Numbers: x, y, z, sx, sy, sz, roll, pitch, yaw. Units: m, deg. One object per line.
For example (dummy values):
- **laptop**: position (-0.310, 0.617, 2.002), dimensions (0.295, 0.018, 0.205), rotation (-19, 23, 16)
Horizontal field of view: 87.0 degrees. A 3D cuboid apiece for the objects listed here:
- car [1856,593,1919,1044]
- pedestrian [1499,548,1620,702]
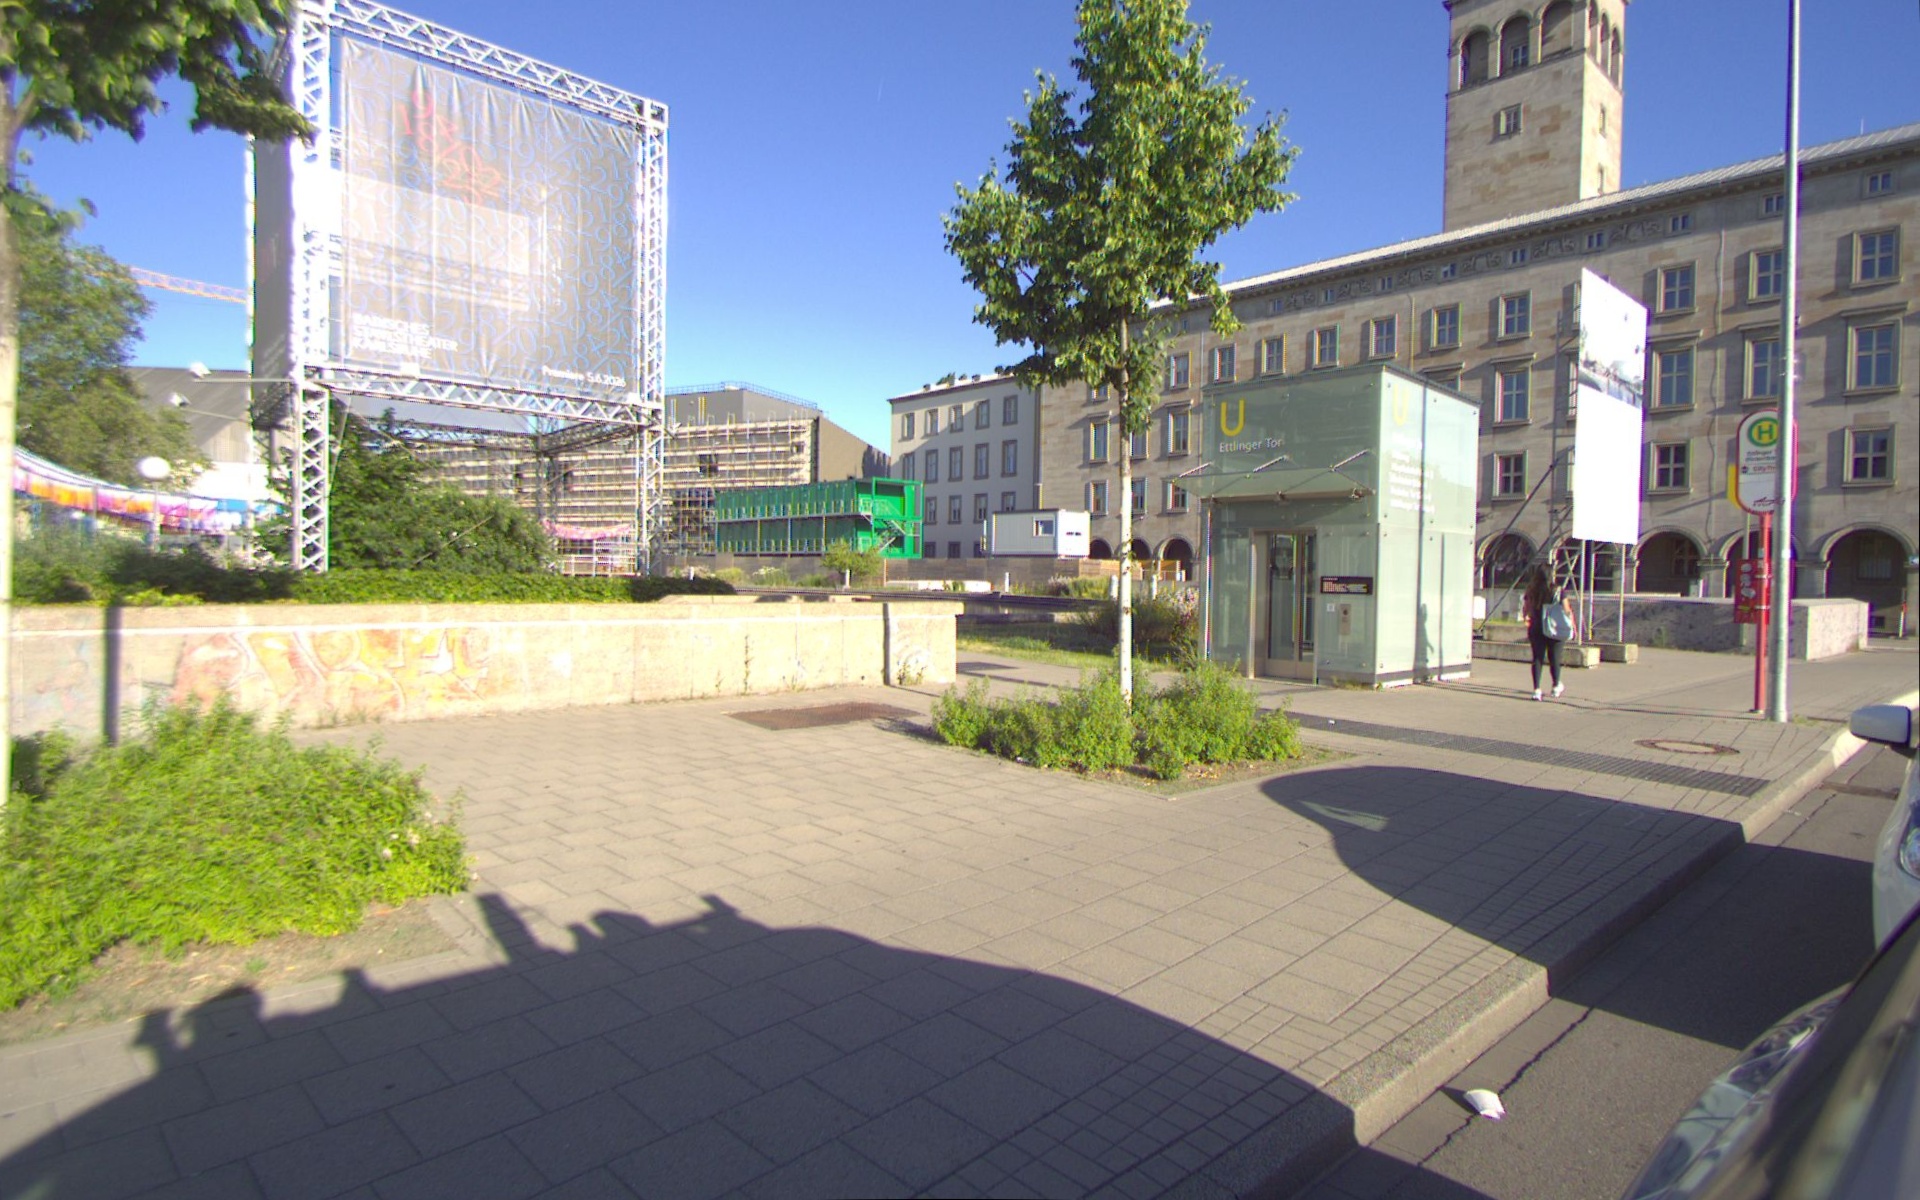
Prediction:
- **car**: position (5.007, 0.711, 4.024), dimensions (3.821, 1.467, 1.677), rotation (0, 0, -41)
- **pedestrian**: position (7.588, 0.282, 12.810), dimensions (1.054, 1.808, 0.941), rotation (0, 5, -43)
